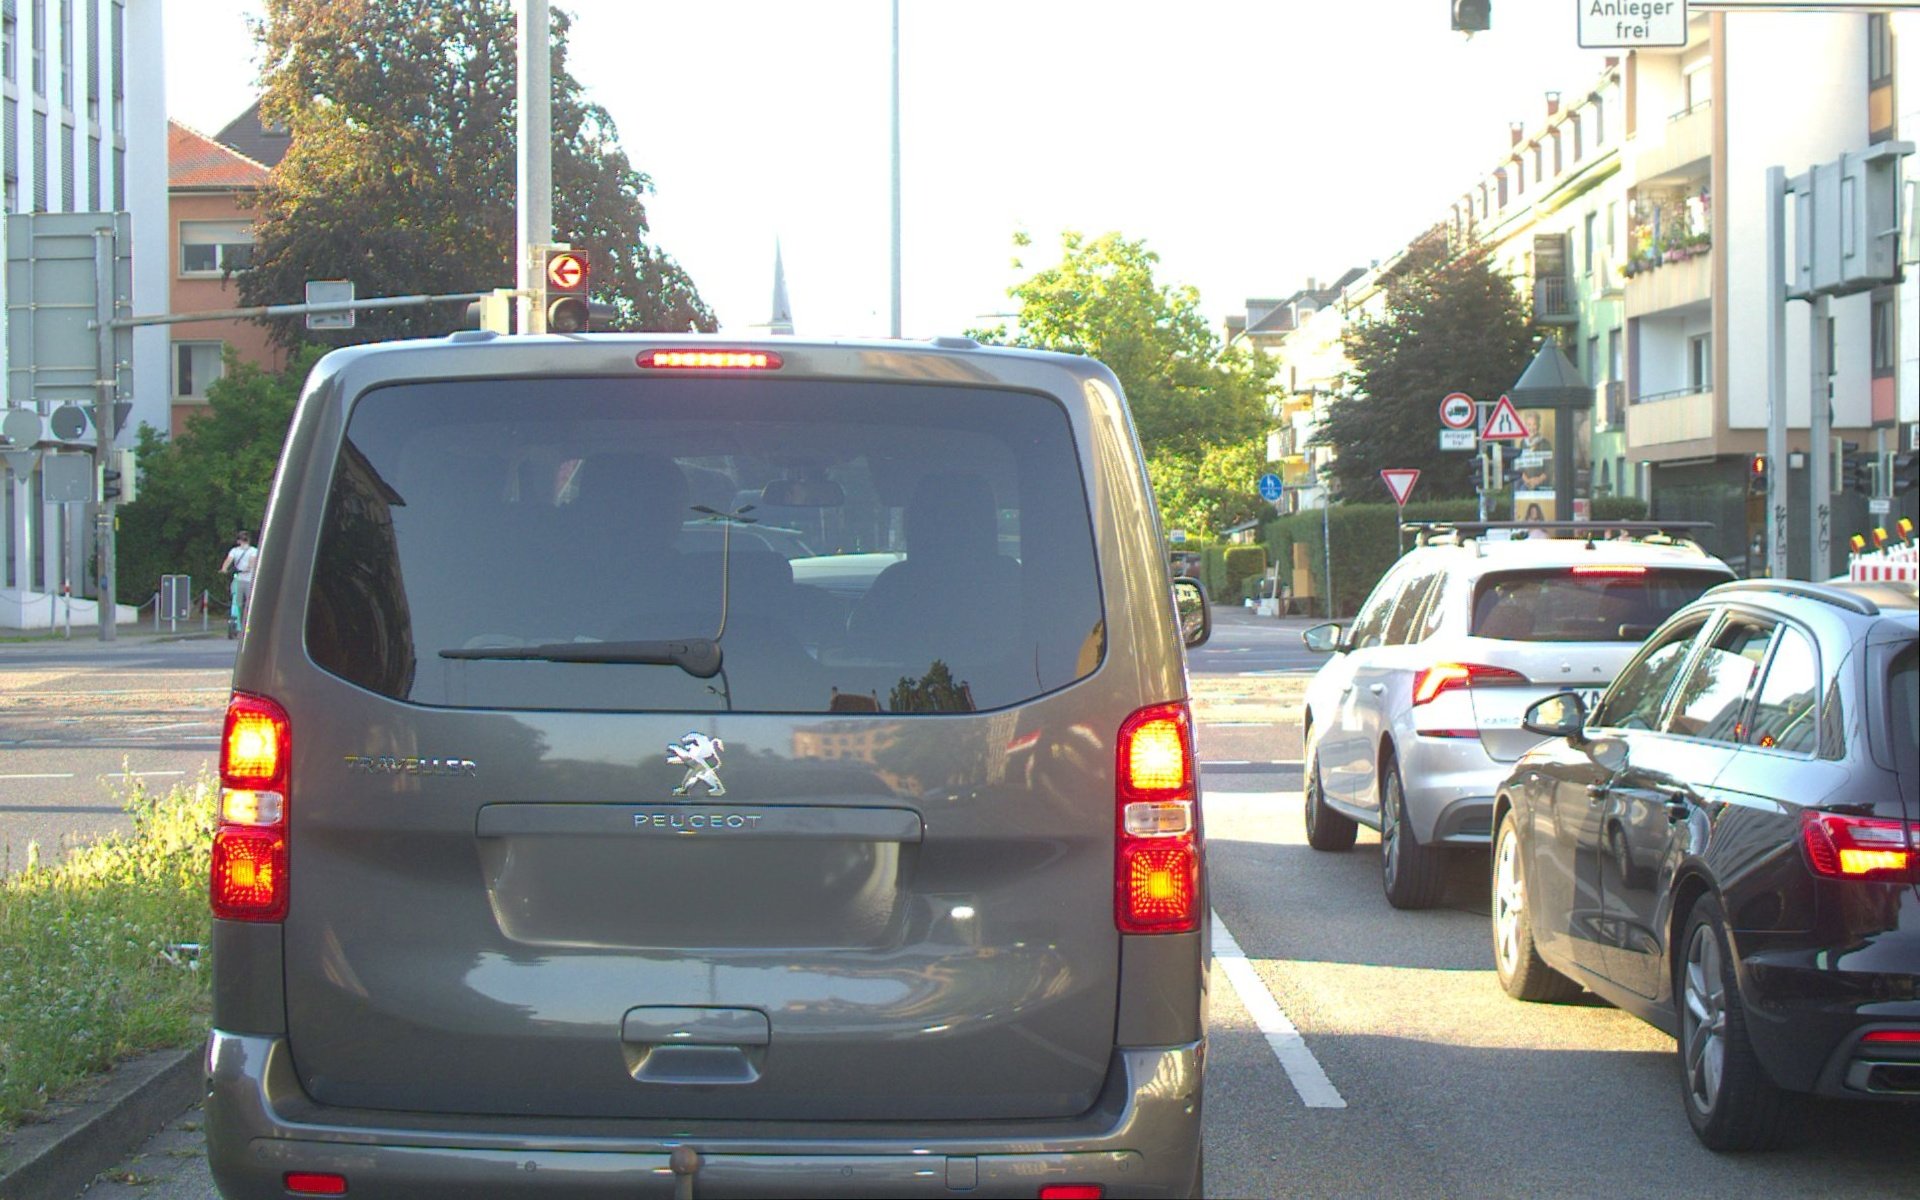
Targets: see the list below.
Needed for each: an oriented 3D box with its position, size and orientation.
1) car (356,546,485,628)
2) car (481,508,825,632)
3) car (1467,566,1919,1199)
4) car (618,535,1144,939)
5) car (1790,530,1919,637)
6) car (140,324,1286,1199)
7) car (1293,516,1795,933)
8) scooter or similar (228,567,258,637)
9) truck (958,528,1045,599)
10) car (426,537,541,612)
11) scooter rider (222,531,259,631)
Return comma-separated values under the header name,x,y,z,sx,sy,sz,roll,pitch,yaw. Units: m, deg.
name,x,y,z,sx,sy,sz,roll,pitch,yaw
car,-9.805,-0.257,62.764,1.856,1.415,4.001,-1,1,-2
car,-4.002,-0.403,44.490,4.337,1.544,1.788,-1,1,-8
car,2.607,0.649,9.601,1.681,1.416,4.214,1,1,-1
car,-0.324,0.483,15.099,1.993,1.525,4.000,0,1,-1
car,13.429,-0.264,46.943,3.673,1.383,1.697,-2,1,-6
car,-0.448,0.438,8.067,1.907,1.857,4.527,1,1,-1
car,2.473,0.453,15.362,1.528,1.608,3.745,1,1,-1
scooter or similar,-12.258,0.028,58.788,0.285,1.184,1.169,0,1,-1
truck,1.291,-1.139,104.414,2.128,2.079,4.630,0,1,7
car,-9.452,-0.527,68.435,1.856,1.415,4.001,-1,1,-2
scooter rider,-12.308,-0.324,58.806,0.481,1.691,0.636,0,1,-1
